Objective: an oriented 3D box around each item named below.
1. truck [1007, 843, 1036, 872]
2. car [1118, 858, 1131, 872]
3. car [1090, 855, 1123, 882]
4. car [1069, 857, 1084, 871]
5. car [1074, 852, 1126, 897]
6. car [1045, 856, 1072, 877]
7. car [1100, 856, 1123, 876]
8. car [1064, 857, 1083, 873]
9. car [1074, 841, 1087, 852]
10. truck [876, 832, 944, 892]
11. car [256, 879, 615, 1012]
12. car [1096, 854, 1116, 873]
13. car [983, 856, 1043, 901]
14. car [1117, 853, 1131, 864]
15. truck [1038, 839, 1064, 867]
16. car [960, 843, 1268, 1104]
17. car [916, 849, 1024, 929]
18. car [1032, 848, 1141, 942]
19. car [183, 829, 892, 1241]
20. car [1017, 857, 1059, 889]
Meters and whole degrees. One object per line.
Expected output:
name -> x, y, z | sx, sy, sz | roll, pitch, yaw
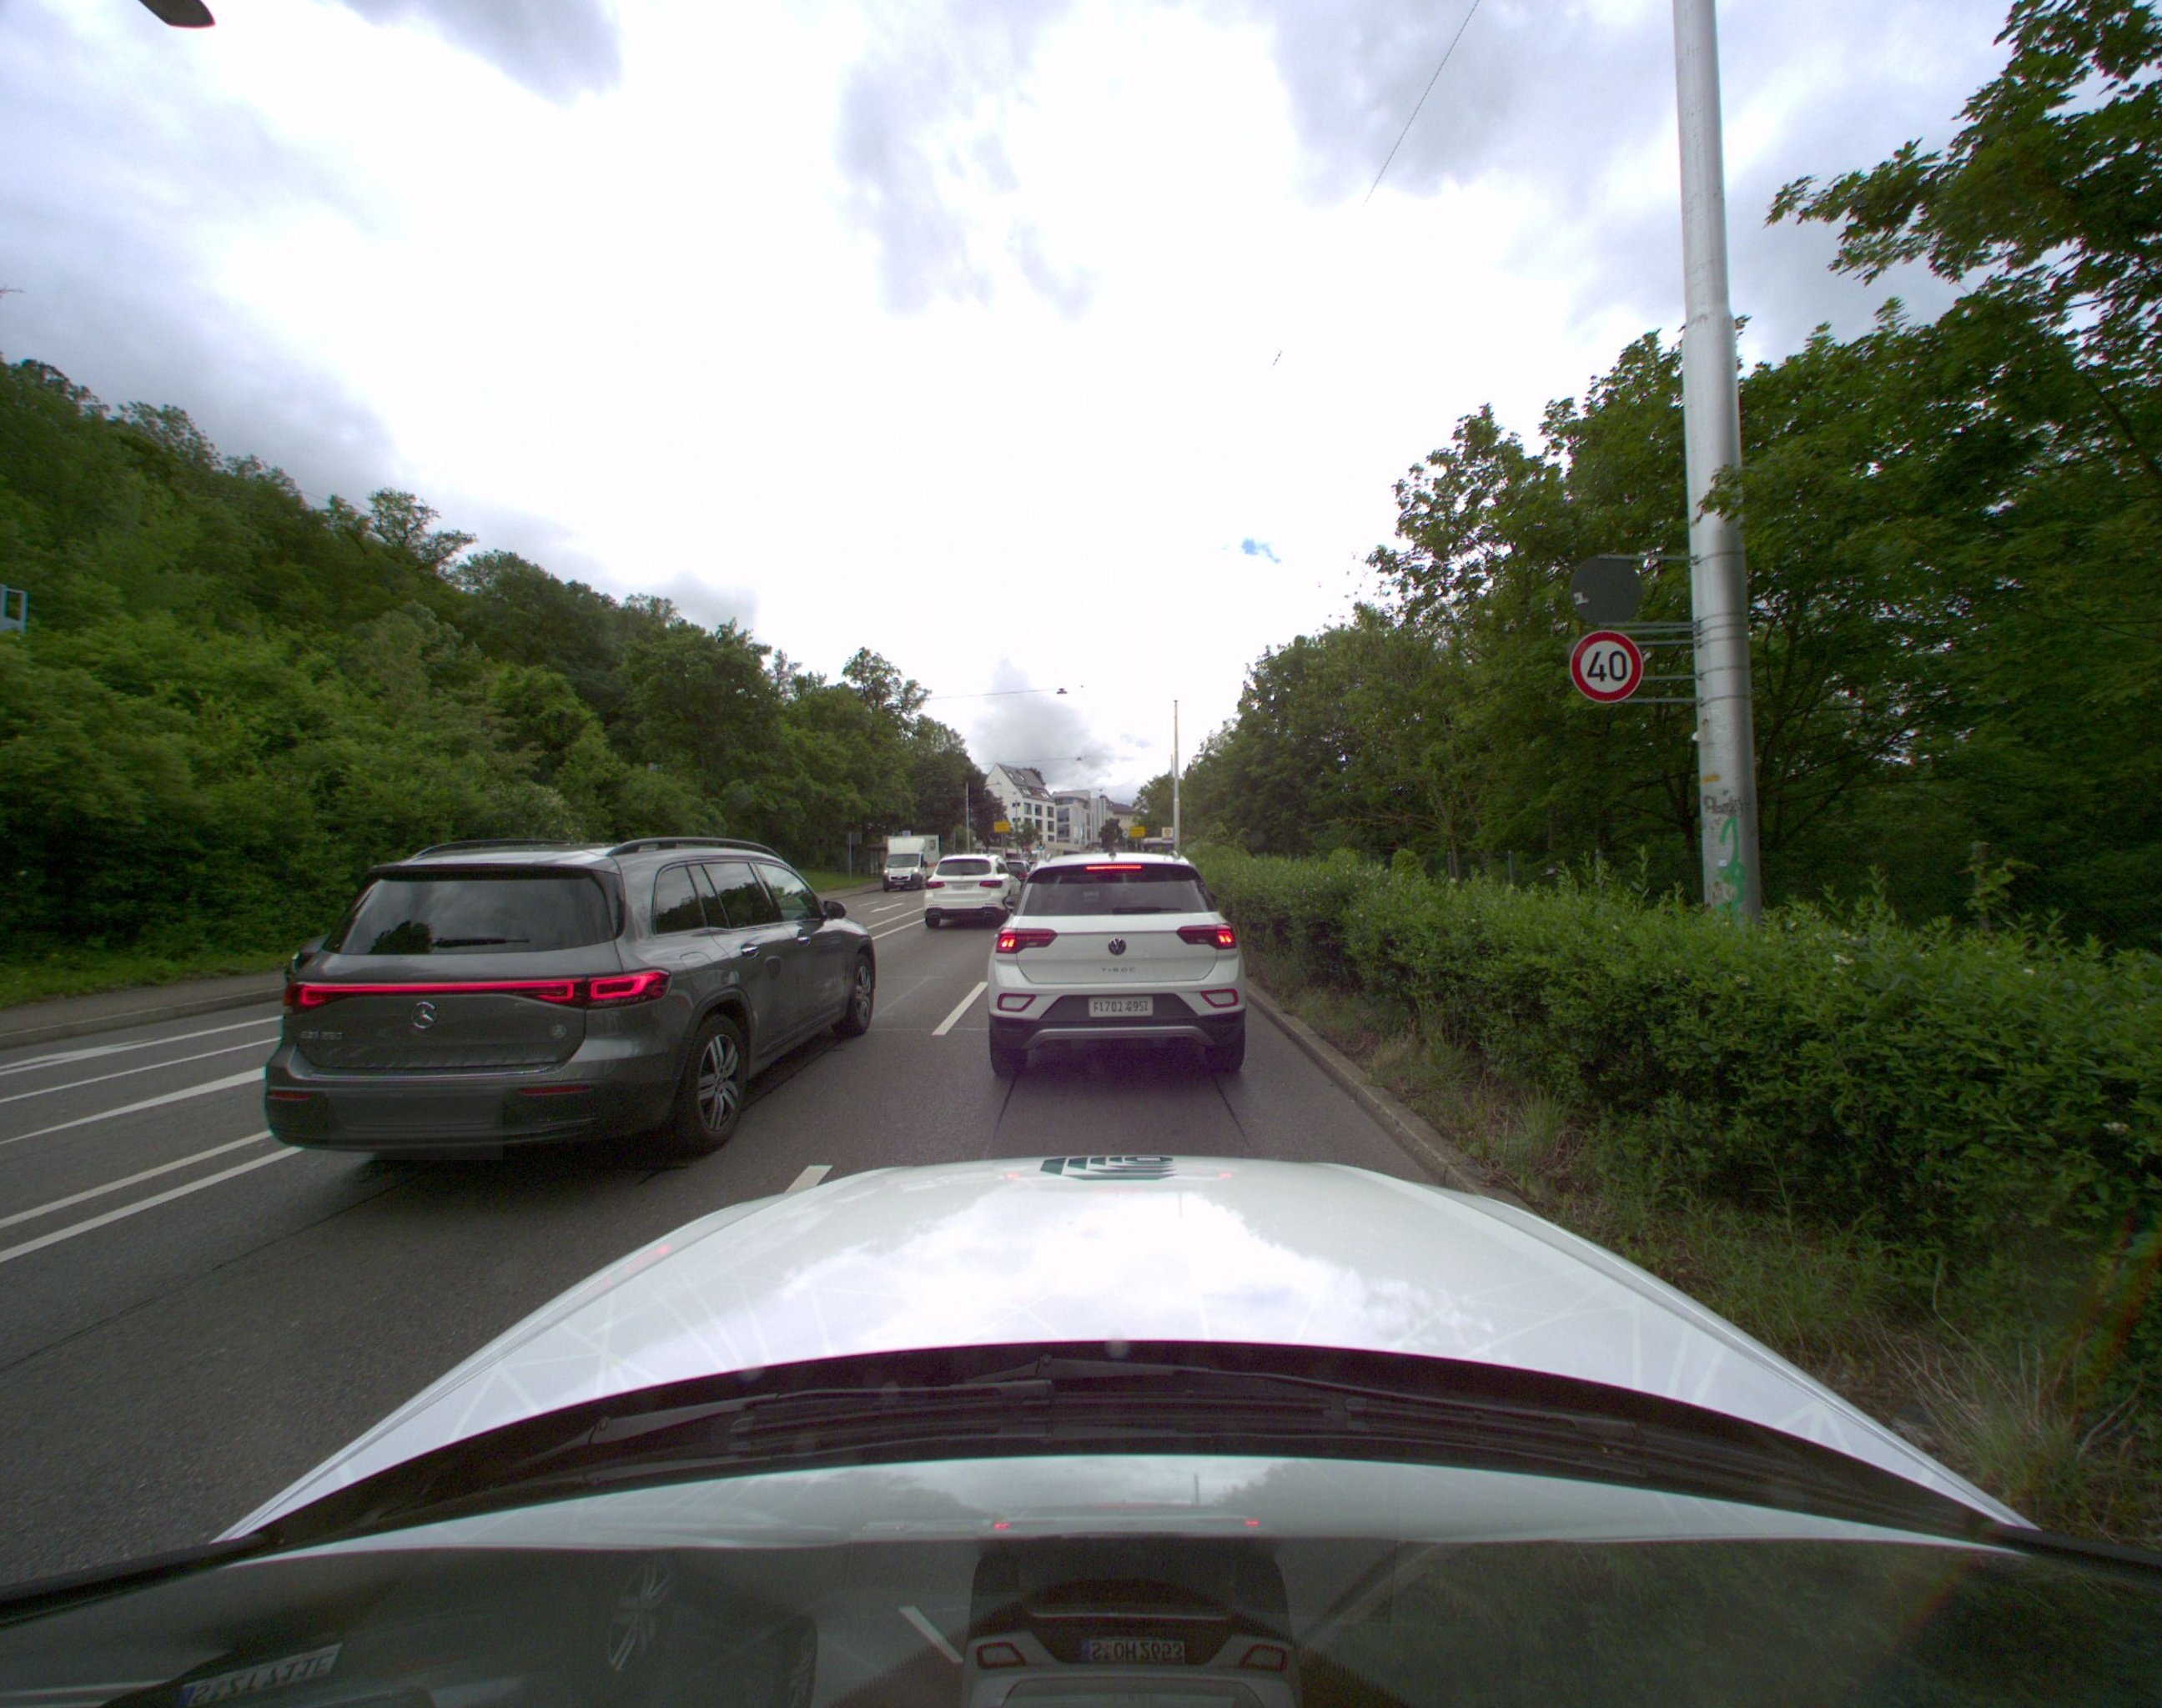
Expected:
truck -> -5.862, 0.316, 81.099 | 2.354, 2.706, 4.478 | -3, 0, 1
car -> 6.738, 1.720, 126.571 | 1.986, 2.014, 4.002 | -3, -2, 2
car -> 1.497, 0.837, 48.936 | 1.823, 1.526, 4.001 | -2, 0, 1
car -> -0.539, 1.311, 109.275 | 1.809, 1.656, 3.929 | -3, 0, 1
car -> 0.717, 0.741, 31.320 | 1.823, 1.526, 4.001 | -2, 0, 1
car -> -1.730, 0.923, 63.798 | 1.823, 1.526, 4.001 | -2, 0, 1
car -> 2.560, 1.008, 69.452 | 1.823, 1.526, 4.001 | -2, 0, 1
car -> -0.789, 1.120, 84.396 | 1.823, 1.526, 4.001 | -2, 0, 1
car -> -0.045, -1.088, 117.012 | 1.823, 1.526, 4.001 | -2, 0, 1
truck -> -9.594, 0.433, 46.348 | 2.286, 3.051, 6.977 | -2, -1, 0
car -> -9.012, 1.171, 11.971 | 1.673, 1.395, 4.361 | -3, 0, 1
car -> 2.699, 1.035, 89.215 | 1.987, 1.969, 3.999 | -2, 0, 0
car -> -2.481, 0.871, 30.590 | 1.823, 1.497, 4.001 | -2, 0, 1
car -> 6.051, 0.636, 114.787 | 1.823, 1.526, 4.001 | -2, 0, 1
truck -> -3.123, -0.112, 85.604 | 2.354, 2.782, 4.478 | -3, 0, 1
car -> 0.234, 0.726, 6.929 | 1.823, 1.526, 4.001 | -2, 0, 1
car -> -2.492, 0.756, 19.251 | 1.911, 1.669, 4.001 | -1, 0, 1
car -> 0.132, 0.706, 15.950 | 1.823, 1.526, 4.001 | -2, 0, 1
car -> -2.741, 0.747, 5.532 | 1.843, 1.651, 4.357 | -1, 0, 0
car -> -2.162, 0.929, 42.102 | 1.823, 1.526, 4.001 | -2, 0, 1
